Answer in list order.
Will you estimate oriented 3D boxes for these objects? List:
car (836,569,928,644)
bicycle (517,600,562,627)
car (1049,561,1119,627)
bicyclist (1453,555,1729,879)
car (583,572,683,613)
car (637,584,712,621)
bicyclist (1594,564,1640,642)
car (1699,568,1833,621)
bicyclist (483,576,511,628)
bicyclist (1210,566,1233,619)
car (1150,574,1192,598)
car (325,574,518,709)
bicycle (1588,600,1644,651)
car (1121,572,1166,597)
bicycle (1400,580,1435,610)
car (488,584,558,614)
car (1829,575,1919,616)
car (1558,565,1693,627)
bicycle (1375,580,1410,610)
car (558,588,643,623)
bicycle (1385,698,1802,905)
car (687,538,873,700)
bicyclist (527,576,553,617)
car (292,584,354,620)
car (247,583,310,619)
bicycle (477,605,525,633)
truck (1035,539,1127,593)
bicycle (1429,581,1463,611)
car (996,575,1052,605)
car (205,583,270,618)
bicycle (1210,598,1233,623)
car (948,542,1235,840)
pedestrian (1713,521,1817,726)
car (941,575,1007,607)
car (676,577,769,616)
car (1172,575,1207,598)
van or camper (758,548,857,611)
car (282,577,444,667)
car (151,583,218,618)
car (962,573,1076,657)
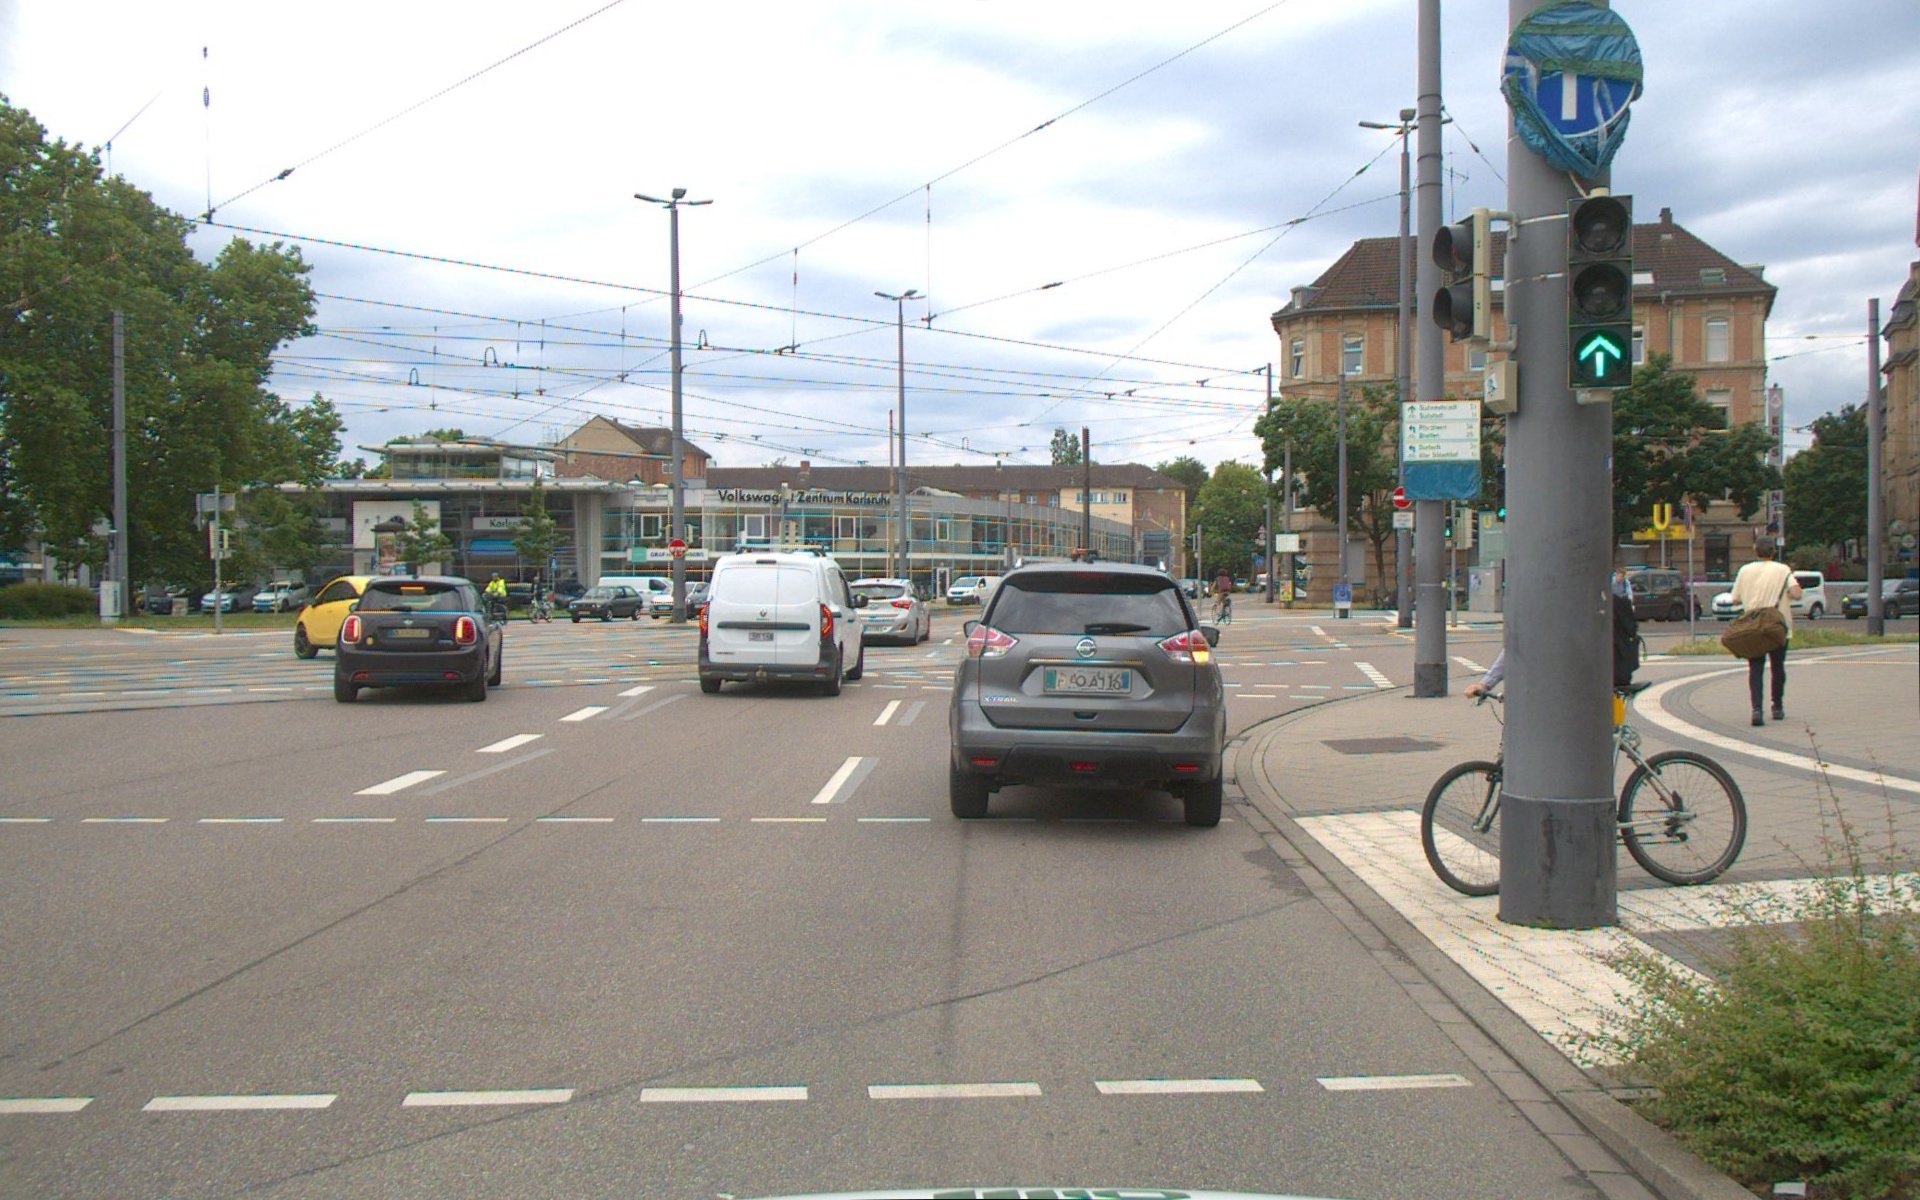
[{"bbox_3d":[-1.671,0.123,36.704,1.815,1.534,4.000,1,0,0],"label":"car"},{"bbox_3d":[-15.739,0.504,61.978,0.507,0.942,2.224,0,1,18],"label":"bicycle"},{"bbox_3d":[4.128,-0.198,54.644,1.951,2.049,4.003,1,0,9],"label":"car"},{"bbox_3d":[3.152,0.556,8.336,1.076,1.547,0.759,0,0,-5],"label":"bicyclist"},{"bbox_3d":[-17.139,-0.399,86.830,4.664,2.049,2.123,1,0,15],"label":"car"},{"bbox_3d":[-11.568,0.094,67.230,1.600,1.445,3.741,0,1,14],"label":"car"},{"bbox_3d":[13.771,0.060,34.660,0.678,1.587,0.924,-2,1,34],"label":"bicyclist"},{"bbox_3d":[30.162,-0.222,61.870,5.021,1.949,1.854,0,0,-26],"label":"car"},{"bbox_3d":[-16.515,0.074,59.053,0.614,1.835,0.798,0,0,19],"label":"bicyclist"},{"bbox_3d":[8.674,-0.244,54.921,0.673,1.738,0.799,0,0,3],"label":"bicyclist"},{"bbox_3d":[16.908,-1.105,132.362,1.954,1.871,4.519,0,1,26],"label":"car"},{"bbox_3d":[-6.584,0.443,20.611,1.737,1.494,3.990,0,1,-10],"label":"car"},{"bbox_3d":[13.767,0.528,34.667,0.659,0.949,1.853,-3,0,34],"label":"bicycle"},{"bbox_3d":[13.982,-1.160,125.758,1.954,1.871,4.519,0,1,26],"label":"car"},{"bbox_3d":[21.615,-0.210,78.101,0.939,1.378,3.116,1,0,27],"label":"bicycle"},{"bbox_3d":[-21.740,-0.076,82.410,1.601,1.445,3.740,0,1,17],"label":"car"},{"bbox_3d":[36.285,-0.176,64.750,4.235,1.561,1.854,0,-1,-26],"label":"car"},{"bbox_3d":[21.584,-0.128,53.620,4.319,1.933,1.680,0,0,-27],"label":"car"},{"bbox_3d":[20.561,-0.229,78.532,0.939,1.378,3.116,1,0,27],"label":"bicycle"},{"bbox_3d":[-13.452,0.181,62.083,1.650,1.268,3.741,0,1,14],"label":"car"},{"bbox_3d":[3.149,0.984,8.320,1.785,0.854,0.767,-2,0,-5],"label":"bicycle"},{"bbox_3d":[-2.314,0.211,22.308,1.872,1.974,4.133,0,1,2],"label":"car"},{"bbox_3d":[-15.719,-0.132,61.946,0.554,1.534,0.857,0,2,19],"label":"bicyclist"},{"bbox_3d":[-38.054,0.103,98.865,1.952,2.049,4.002,1,0,3],"label":"car"},{"bbox_3d":[-40.826,0.059,99.203,1.952,2.049,4.002,1,0,3],"label":"car"},{"bbox_3d":[-16.458,0.668,59.375,0.507,0.946,2.224,0,1,18],"label":"bicycle"},{"bbox_3d":[8.586,-2.347,116.159,2.741,3.611,9.207,1,0,29],"label":"truck"},{"bbox_3d":[22.811,-0.190,77.634,0.939,1.378,3.116,1,0,27],"label":"bicycle"},{"bbox_3d":[4.190,-0.674,107.723,1.954,1.871,4.519,0,1,26],"label":"car"},{"bbox_3d":[-43.297,0.029,99.204,1.952,2.049,4.002,1,0,3],"label":"car"},{"bbox_3d":[8.680,0.356,54.944,0.606,0.807,1.592,0,0,3],"label":"bicycle"},{"bbox_3d":[0.915,0.542,11.932,1.713,1.786,3.925,0,0,4],"label":"car"},{"bbox_3d":[7.842,0.214,16.123,0.867,1.900,1.285,0,0,26],"label":"pedestrian"},{"bbox_3d":[0.904,-0.590,101.059,2.113,1.889,5.445,0,1,24],"label":"car"},{"bbox_3d":[-9.180,-0.153,64.236,1.951,1.445,4.666,0,1,14],"label":"car"},{"bbox_3d":[19.311,-1.132,139.015,1.952,1.871,4.523,0,1,21],"label":"car"},{"bbox_3d":[-6.640,-0.872,72.887,2.364,2.656,6.056,1,0,15],"label":"van or camper"},{"bbox_3d":[-10.989,0.357,30.289,1.803,1.520,3.950,1,0,-35],"label":"car"},{"bbox_3d":[-46.359,0.004,98.952,1.952,2.049,4.002,1,0,3],"label":"car"},{"bbox_3d":[1.127,0.239,30.652,1.952,1.445,4.002,0,0,3],"label":"car"}]
